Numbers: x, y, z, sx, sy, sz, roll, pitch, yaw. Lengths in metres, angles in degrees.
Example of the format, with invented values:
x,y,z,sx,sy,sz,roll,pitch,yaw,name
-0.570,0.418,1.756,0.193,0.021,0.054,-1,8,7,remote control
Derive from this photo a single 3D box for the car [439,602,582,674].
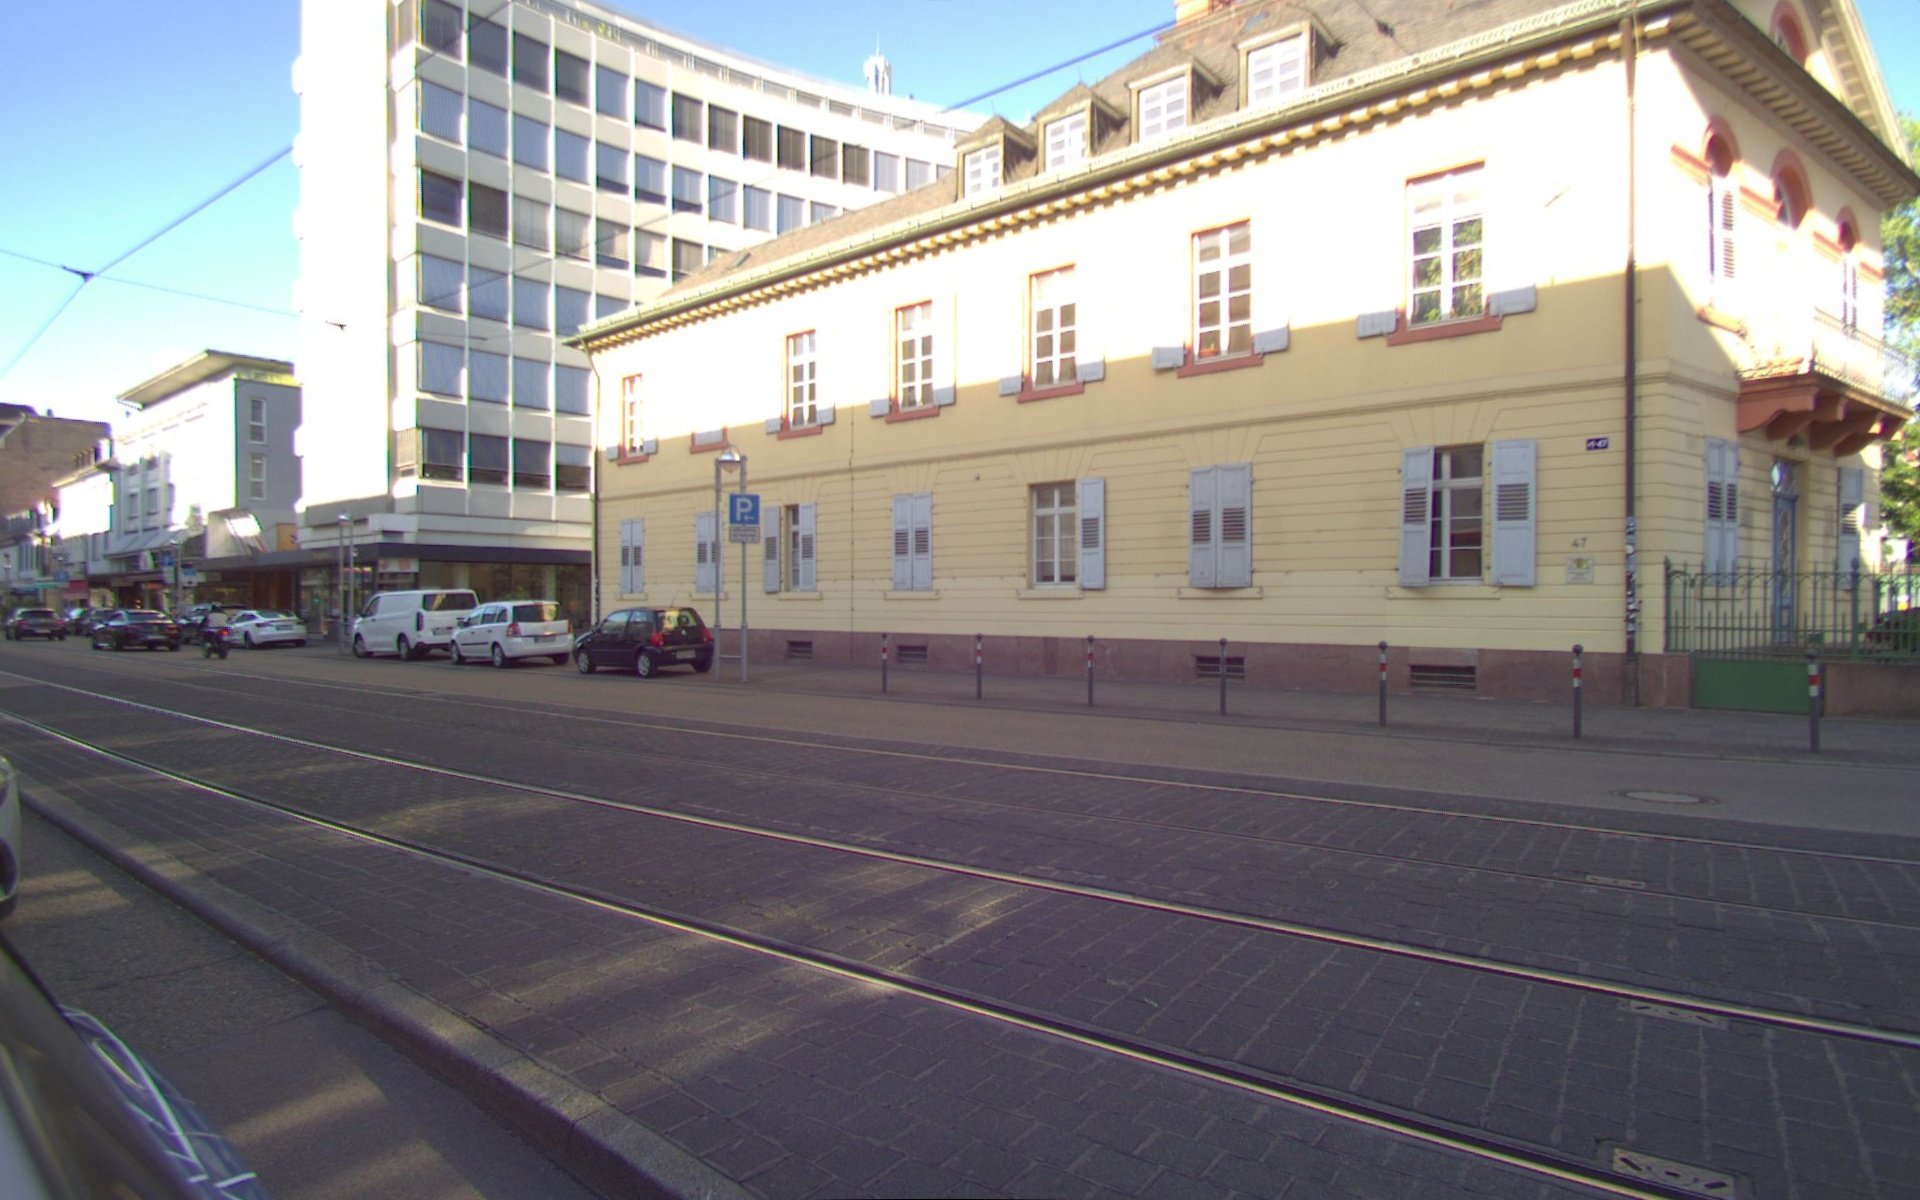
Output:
x,y,z,sx,sy,sz,roll,pitch,yaw,name
-11.466,0.889,25.714,4.175,1.632,1.758,0,2,42,car

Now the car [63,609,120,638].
x,y,z,sx,sy,sz,roll,pitch,yaw,name
-48.344,1.290,56.318,3.829,1.531,1.764,0,0,40,car

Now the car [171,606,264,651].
x,y,z,sx,sy,sz,roll,pitch,yaw,name
-30.292,1.115,41.244,4.275,1.654,1.908,0,1,37,car

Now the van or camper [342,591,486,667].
x,y,z,sx,sy,sz,roll,pitch,yaw,name
-15.882,0.771,29.360,4.792,1.988,1.936,0,2,39,van or camper

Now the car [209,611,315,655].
x,y,z,sx,sy,sz,roll,pitch,yaw,name
-26.038,1.175,37.718,4.284,1.463,1.909,0,1,36,car

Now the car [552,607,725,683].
x,y,z,sx,sy,sz,roll,pitch,yaw,name
-7.092,0.910,22.151,3.958,1.450,1.759,0,2,40,car

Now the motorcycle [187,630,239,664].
x,y,z,sx,sy,sz,roll,pitch,yaw,name
-22.318,1.394,30.211,2.150,0.933,0.594,0,0,35,motorcycle

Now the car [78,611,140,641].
x,y,z,sx,sy,sz,roll,pitch,yaw,name
-44.316,1.336,52.684,3.592,1.427,1.764,0,0,38,car

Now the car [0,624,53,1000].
x,y,z,sx,sy,sz,roll,pitch,yaw,name
-6.072,0.823,4.893,4.771,1.450,1.845,0,-1,40,car

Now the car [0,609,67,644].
x,y,z,sx,sy,sz,roll,pitch,yaw,name
-42.373,1.208,46.230,3.856,1.521,1.759,-1,-2,39,car

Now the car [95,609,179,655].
x,y,z,sx,sy,sz,roll,pitch,yaw,name
-29.418,1.119,36.140,4.671,1.521,1.757,-1,-2,44,car

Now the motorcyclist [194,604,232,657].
x,y,z,sx,sy,sz,roll,pitch,yaw,name
-22.285,0.893,30.190,0.882,1.570,0.647,0,0,34,motorcyclist
